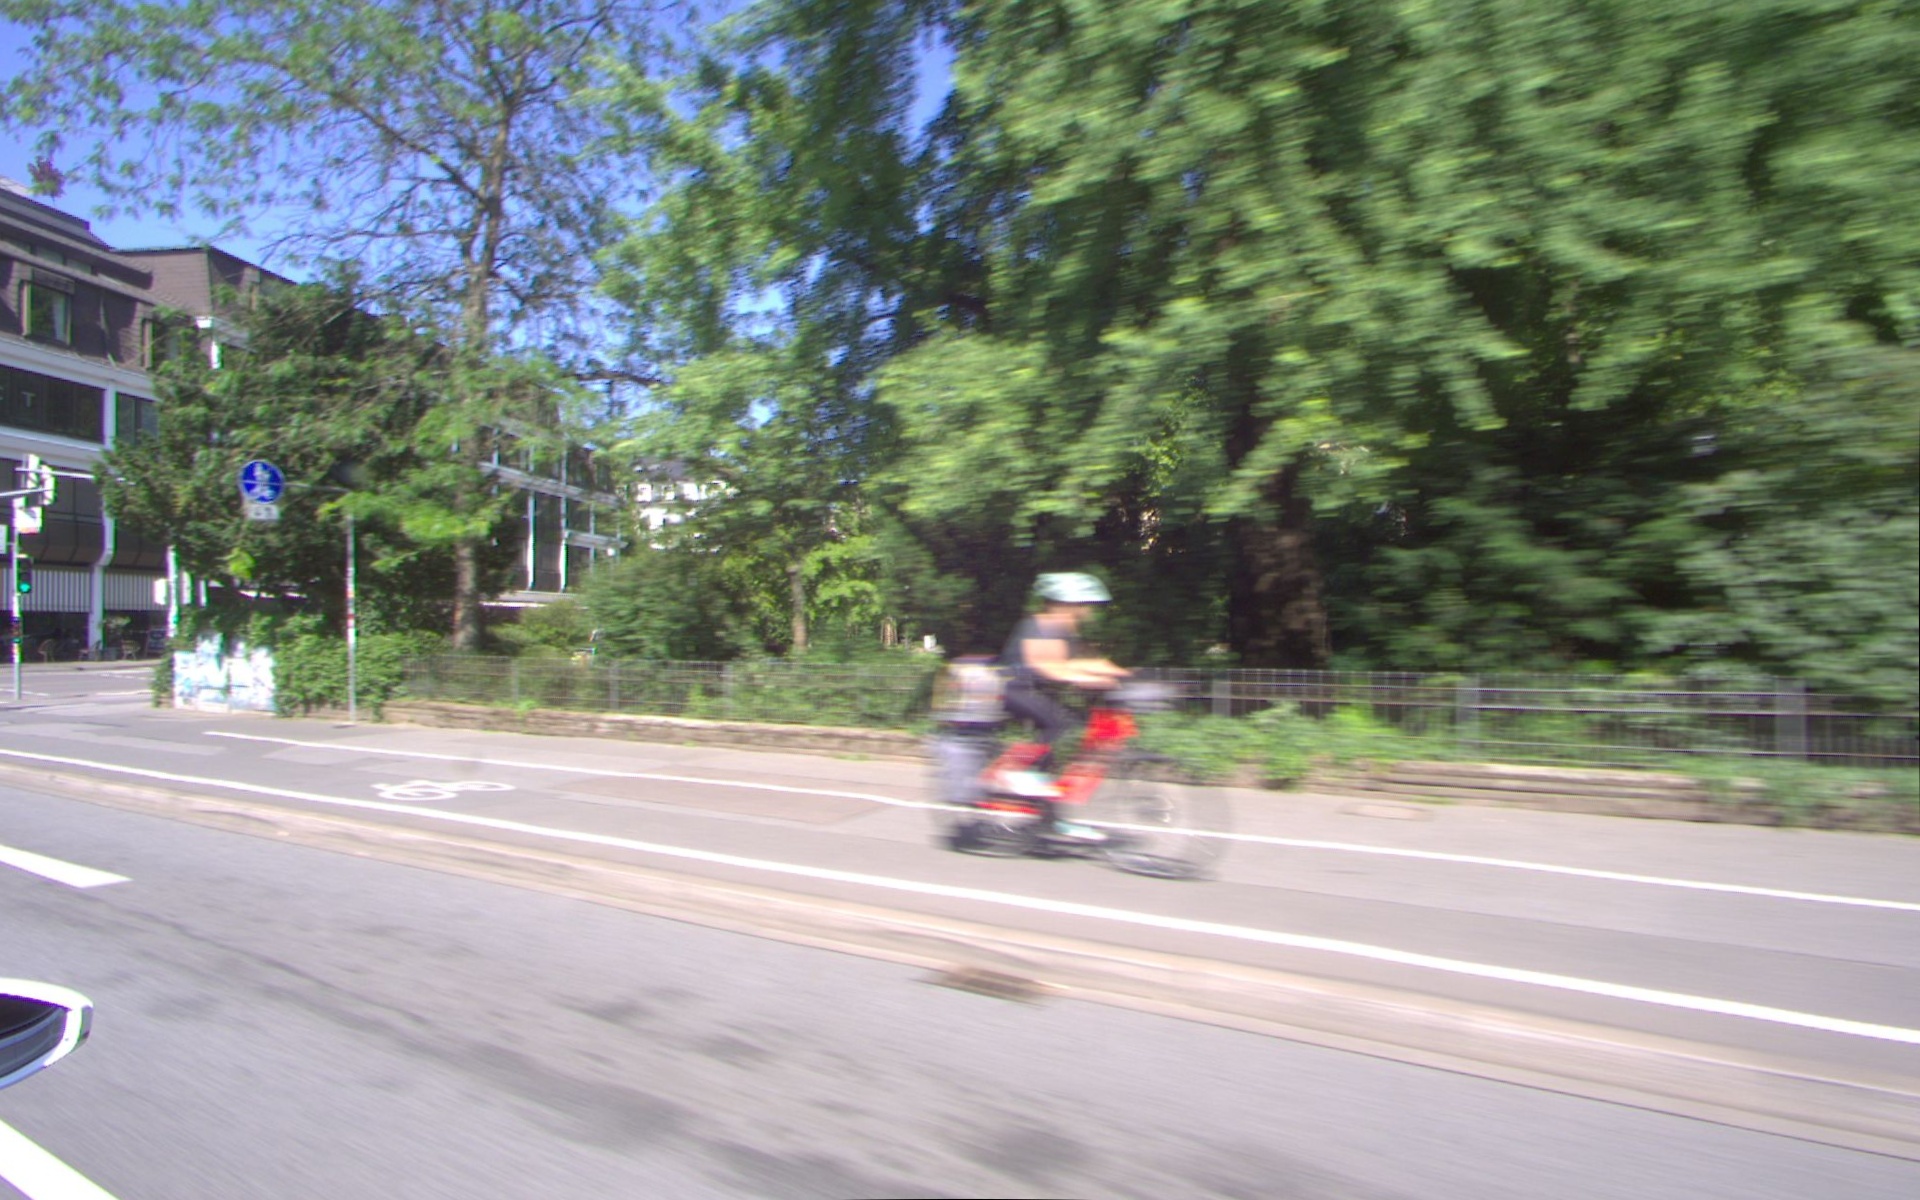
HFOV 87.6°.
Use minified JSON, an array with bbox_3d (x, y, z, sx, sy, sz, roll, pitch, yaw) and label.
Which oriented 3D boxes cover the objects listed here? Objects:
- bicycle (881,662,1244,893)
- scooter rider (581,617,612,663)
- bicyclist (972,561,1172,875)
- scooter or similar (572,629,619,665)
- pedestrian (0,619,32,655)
[{"bbox_3d":[0.571,0.943,5.867,1.971,1.135,0.757,-2,-1,29],"label":"bicycle"},{"bbox_3d":[-13.527,1.487,37.249,0.809,1.693,0.708,-1,-1,17],"label":"scooter rider"},{"bbox_3d":[0.664,0.638,5.836,0.929,1.657,0.764,-1,-1,28],"label":"bicyclist"},{"bbox_3d":[-13.527,1.735,37.209,0.806,1.315,1.694,-1,-1,16],"label":"scooter or similar"},{"bbox_3d":[-36.499,1.409,38.564,0.817,1.352,0.968,1,-1,-26],"label":"pedestrian"}]
